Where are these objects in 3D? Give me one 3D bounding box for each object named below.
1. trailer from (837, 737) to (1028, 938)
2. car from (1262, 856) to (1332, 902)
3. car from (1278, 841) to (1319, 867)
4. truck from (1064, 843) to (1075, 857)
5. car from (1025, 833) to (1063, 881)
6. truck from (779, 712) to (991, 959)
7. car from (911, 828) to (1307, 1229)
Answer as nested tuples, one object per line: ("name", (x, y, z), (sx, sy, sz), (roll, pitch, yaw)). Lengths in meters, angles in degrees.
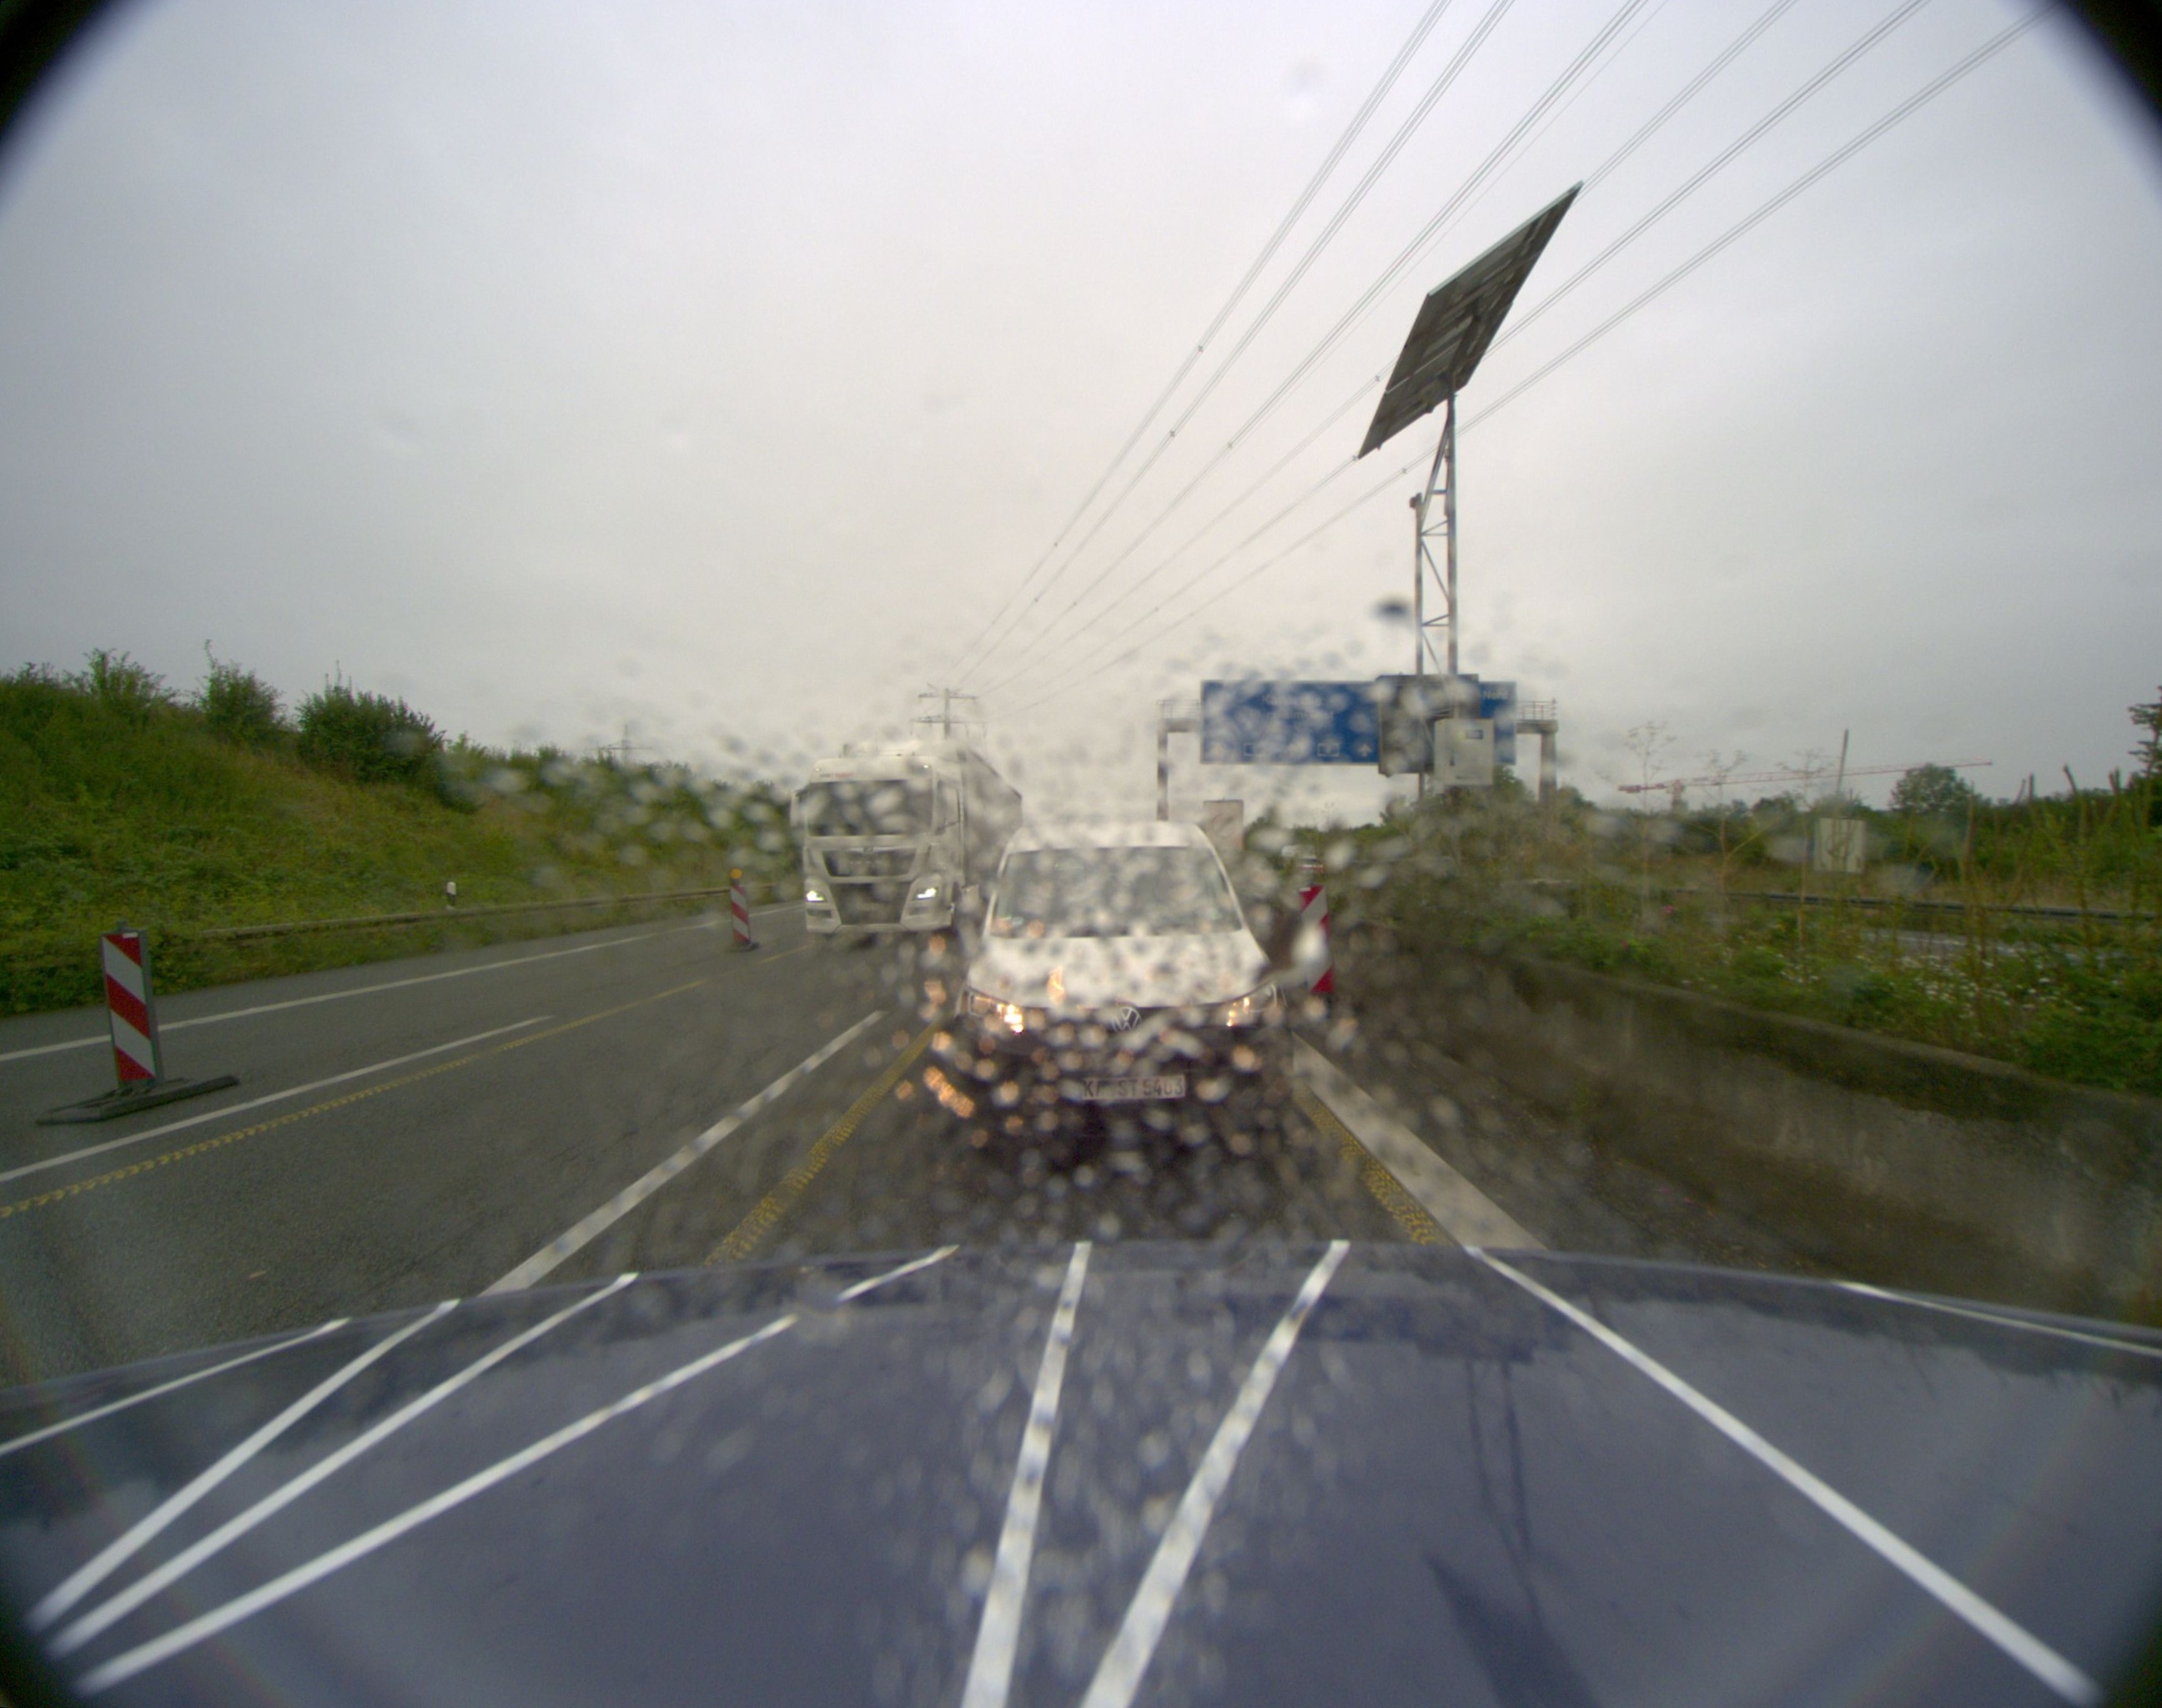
("trailer", (-3.560, -0.358, 22.647), (2.713, 4.122, 13.731), (-1, 0, 1))
("car", (9.533, 1.036, 33.850), (1.998, 1.919, 4.000), (0, 0, 1))
("car", (17.847, 0.025, 62.568), (1.998, 2.002, 5.059), (-1, 0, 1))
("truck", (-3.508, -1.190, 225.403), (2.875, 4.007, 8.309), (-1, 0, 1))
("car", (-2.225, 0.181, 46.897), (1.998, 2.766, 5.756), (-1, 0, 0))
("truck", (-3.655, -0.320, 15.719), (2.713, 4.114, 5.690), (-1, 0, 1))
("car", (0.160, 0.799, 5.654), (1.768, 1.803, 4.345), (-1, 0, 1))
